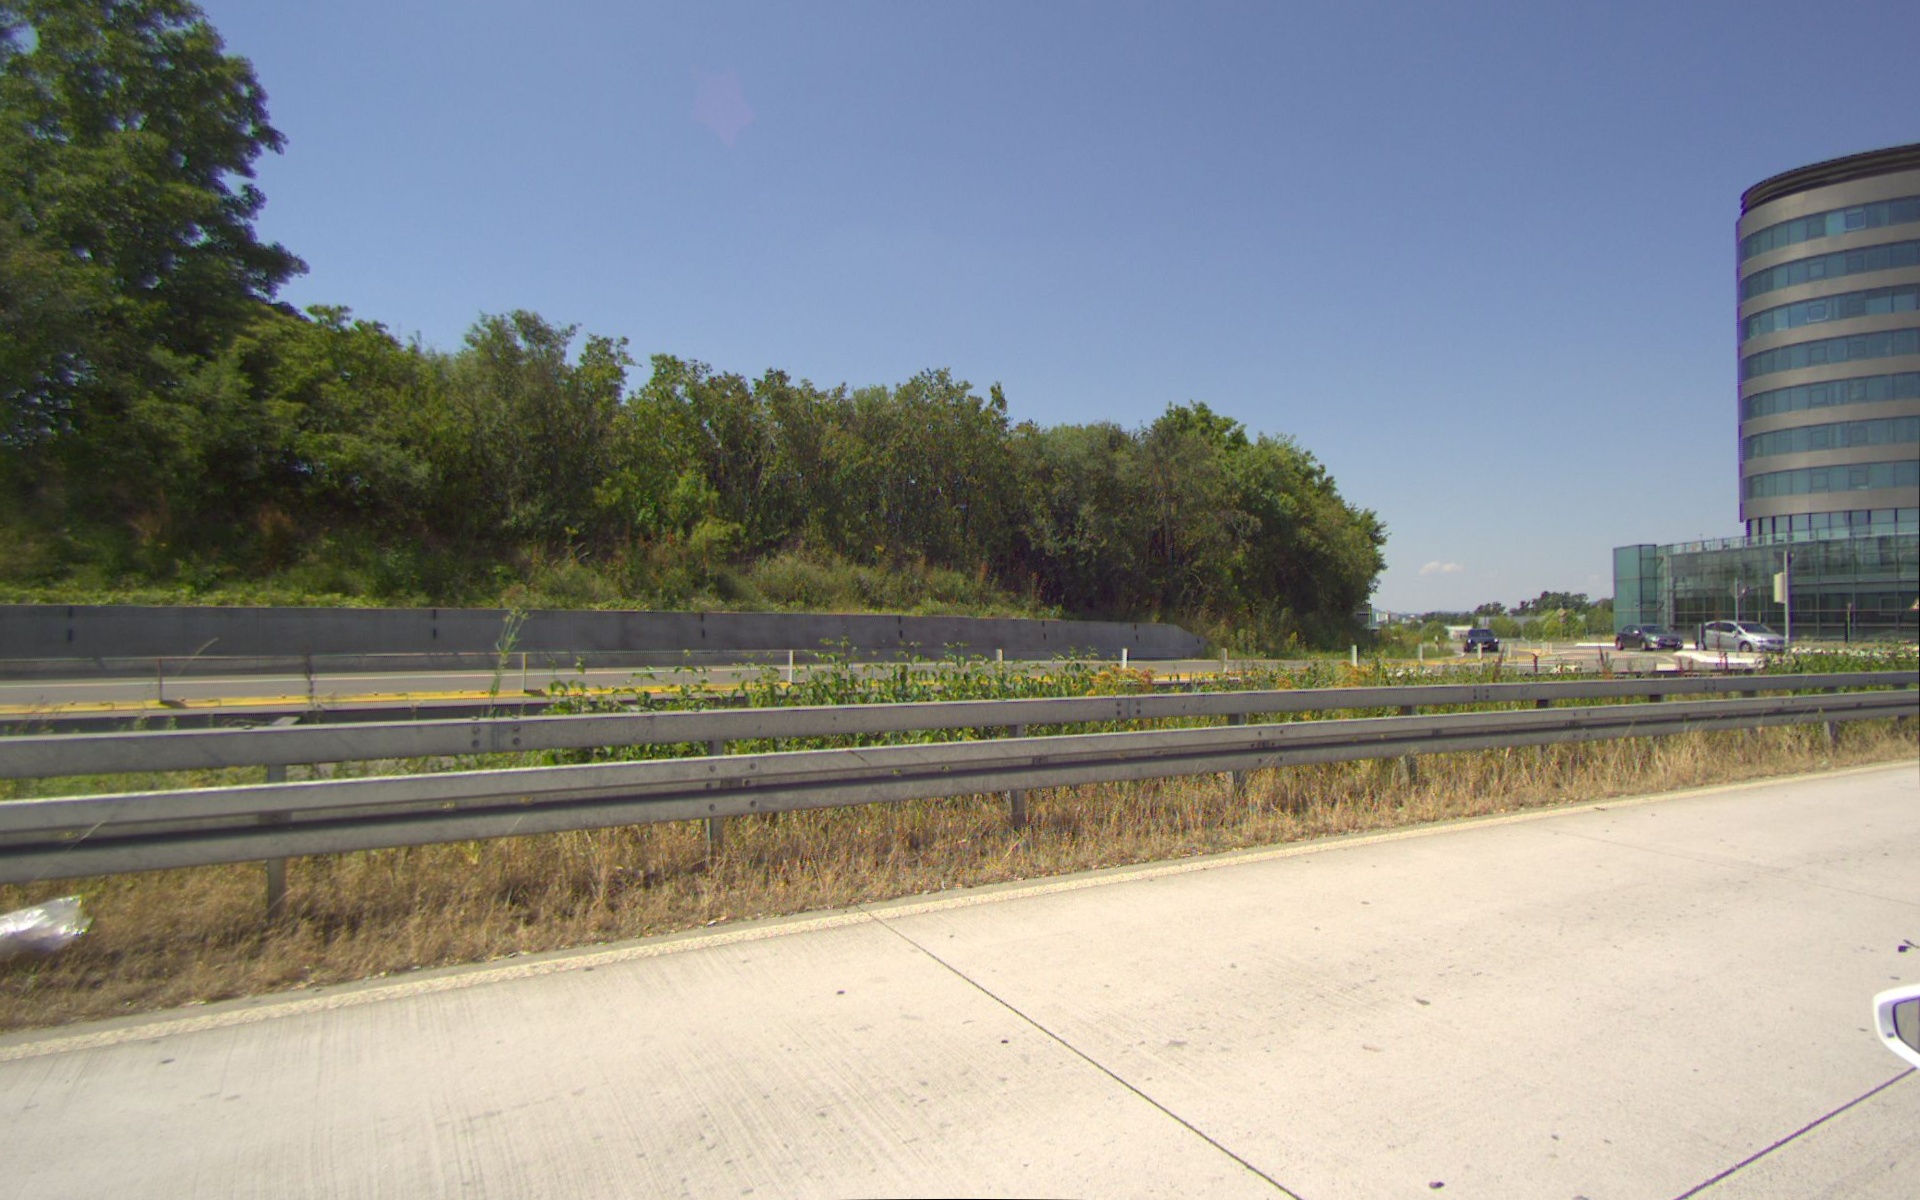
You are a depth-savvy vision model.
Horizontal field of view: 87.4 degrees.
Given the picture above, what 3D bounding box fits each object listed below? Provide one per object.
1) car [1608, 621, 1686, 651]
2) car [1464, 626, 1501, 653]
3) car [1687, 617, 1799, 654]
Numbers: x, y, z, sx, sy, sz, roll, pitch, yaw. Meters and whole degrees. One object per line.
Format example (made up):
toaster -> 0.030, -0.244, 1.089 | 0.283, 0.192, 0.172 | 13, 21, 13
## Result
car -> 37.209, 1.967, 54.531 | 1.663, 1.475, 4.333 | 2, -2, 6
car -> 32.215, 2.386, 62.031 | 1.684, 1.504, 4.291 | 2, 0, 24
car -> 36.496, 1.669, 46.968 | 1.742, 1.616, 4.329 | 2, -2, -2
